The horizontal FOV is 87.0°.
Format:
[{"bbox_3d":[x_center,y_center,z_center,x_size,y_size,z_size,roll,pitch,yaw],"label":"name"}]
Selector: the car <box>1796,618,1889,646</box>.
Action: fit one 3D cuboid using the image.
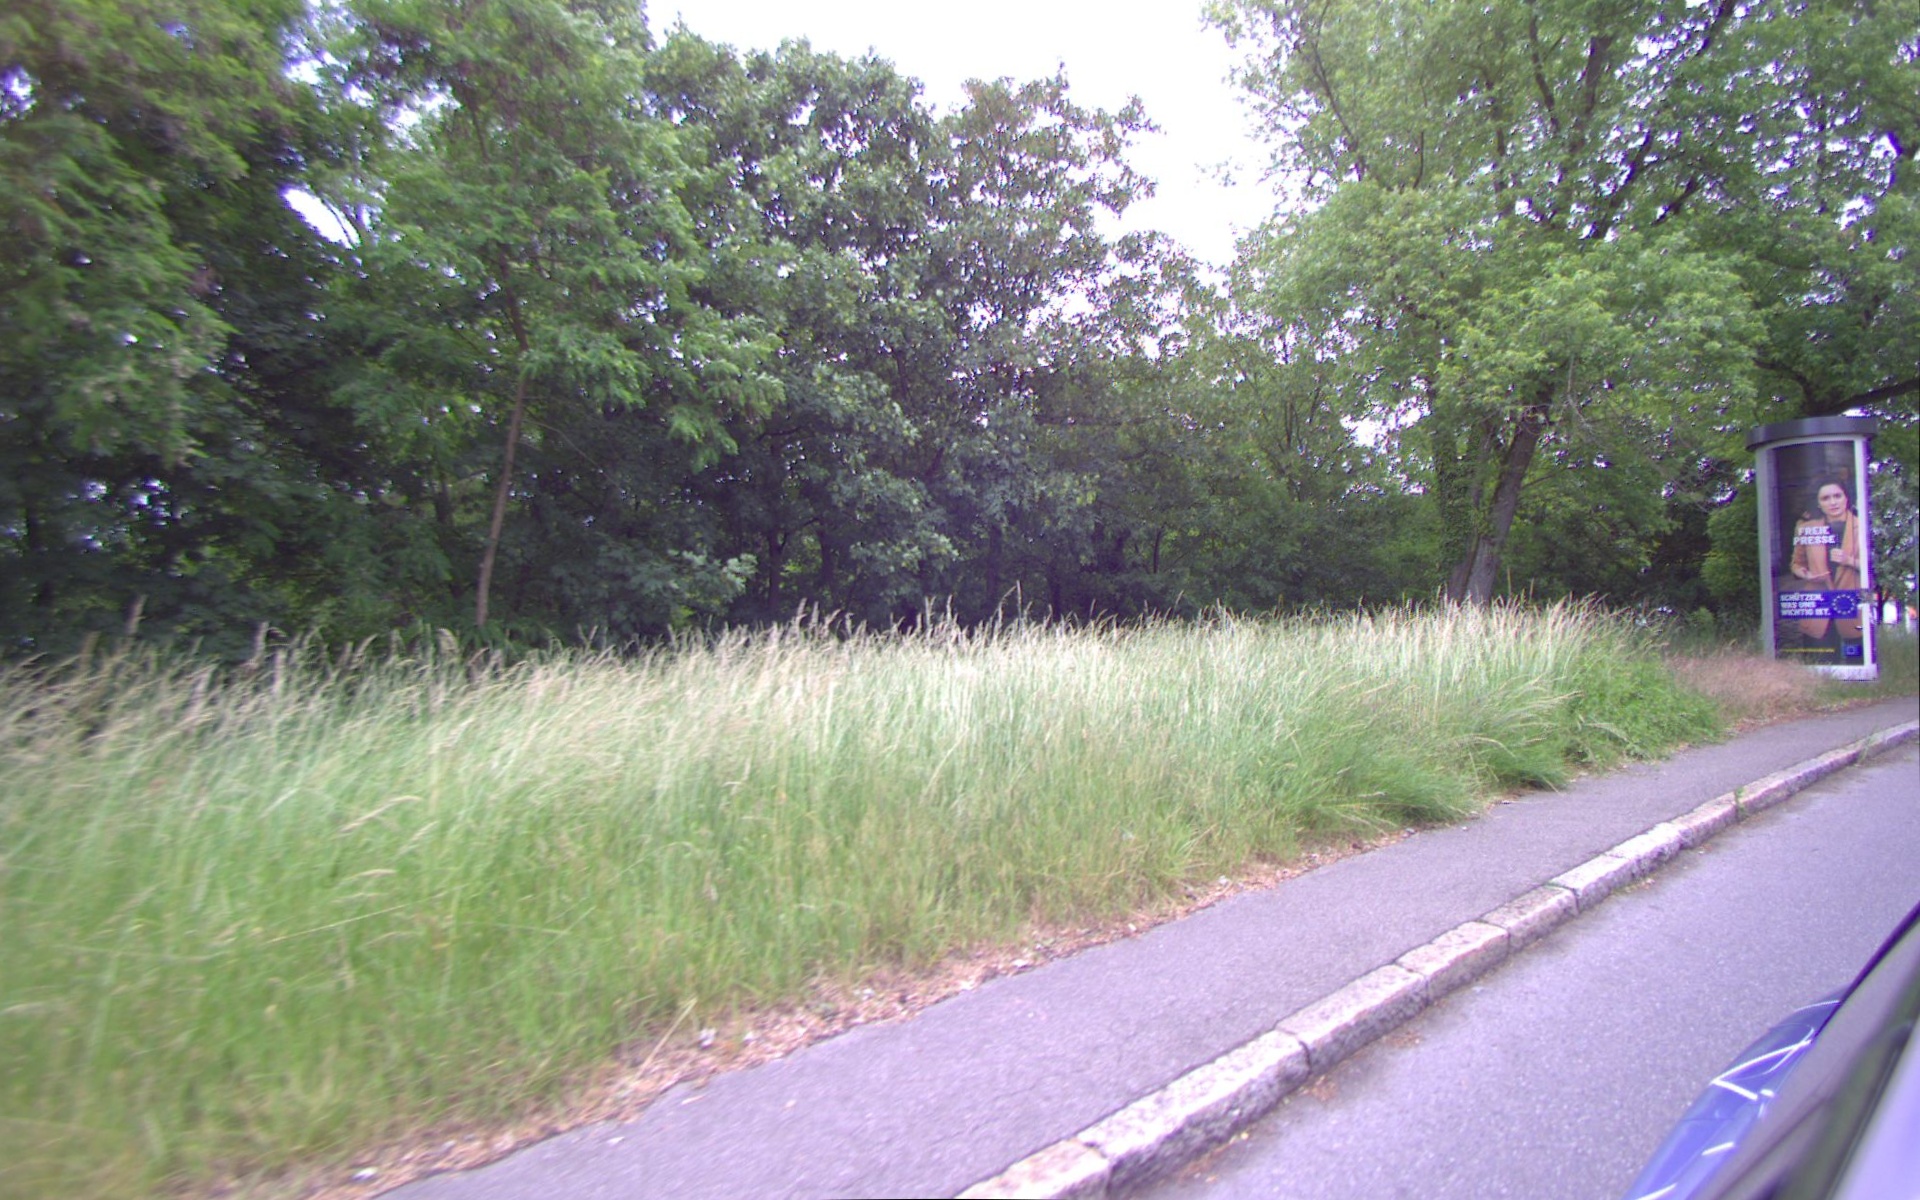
[{"bbox_3d":[117.510,4.296,134.893,8.176,3.427,3.977,-3,-3,21],"label":"car"}]
